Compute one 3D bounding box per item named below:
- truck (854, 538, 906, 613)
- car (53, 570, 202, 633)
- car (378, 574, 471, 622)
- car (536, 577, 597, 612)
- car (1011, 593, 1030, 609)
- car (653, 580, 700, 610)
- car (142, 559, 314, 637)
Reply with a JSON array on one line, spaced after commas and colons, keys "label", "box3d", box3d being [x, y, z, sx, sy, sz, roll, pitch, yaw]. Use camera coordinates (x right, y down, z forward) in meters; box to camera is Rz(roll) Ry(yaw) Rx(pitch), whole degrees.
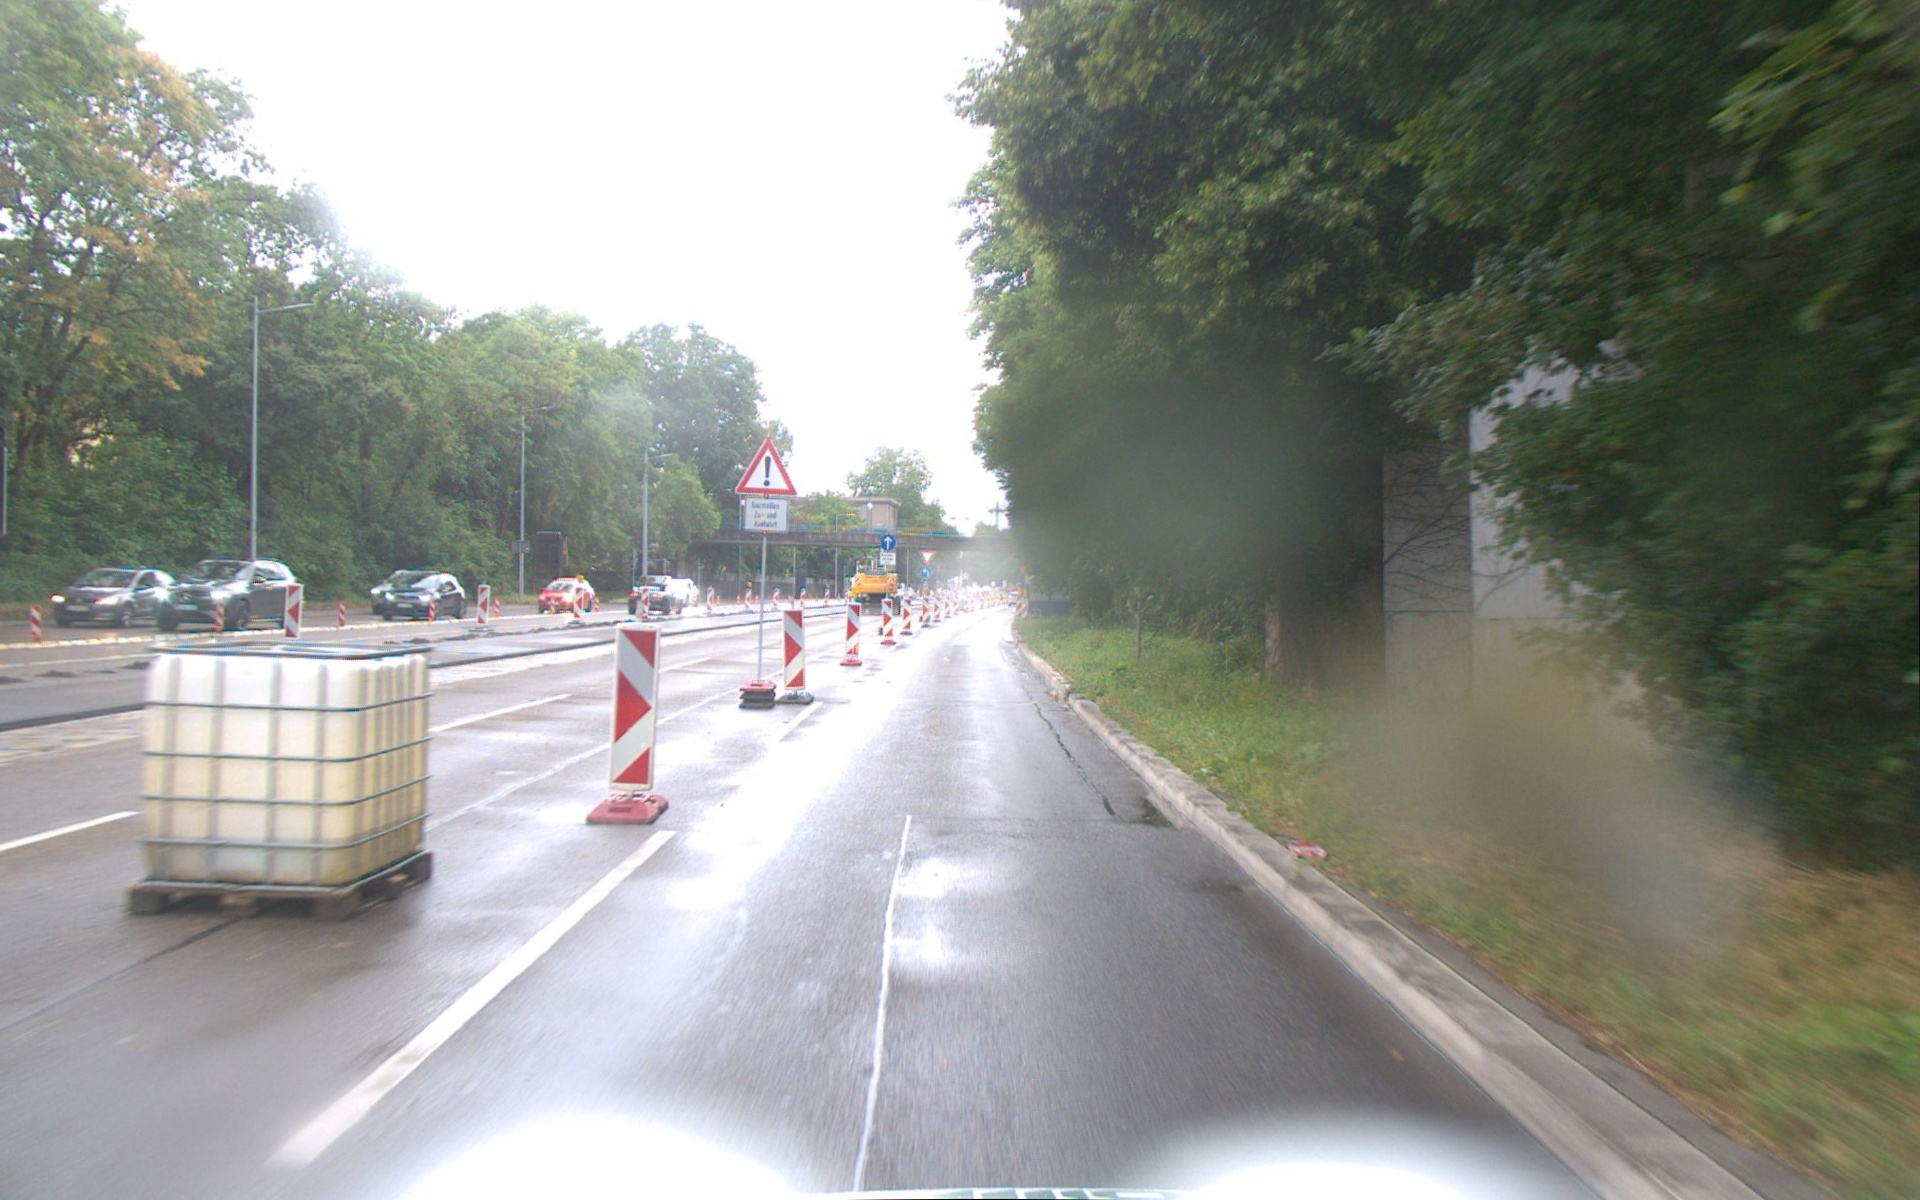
[{"label": "truck", "box3d": [-4.889, -1.478, 102.466, 2.839, 4.333, 10.753, 2, 0, -2]}, {"label": "car", "box3d": [-20.620, 0.020, 41.139, 1.611, 1.445, 4.000, 2, 0, 1]}, {"label": "car", "box3d": [-17.889, -0.078, 55.461, 1.740, 1.513, 4.196, 1, 0, 0]}, {"label": "car", "box3d": [-17.270, -0.246, 72.750, 1.644, 1.425, 4.013, 2, 0, 0]}, {"label": "car", "box3d": [6.326, 0.062, 173.378, 1.952, 1.668, 4.002, 0, 0, 3]}, {"label": "car", "box3d": [-16.516, -0.302, 96.522, 1.851, 1.690, 4.893, 2, 0, 0]}, {"label": "car", "box3d": [-18.027, -0.075, 41.025, 1.980, 1.755, 5.013, 2, 0, 0]}]
